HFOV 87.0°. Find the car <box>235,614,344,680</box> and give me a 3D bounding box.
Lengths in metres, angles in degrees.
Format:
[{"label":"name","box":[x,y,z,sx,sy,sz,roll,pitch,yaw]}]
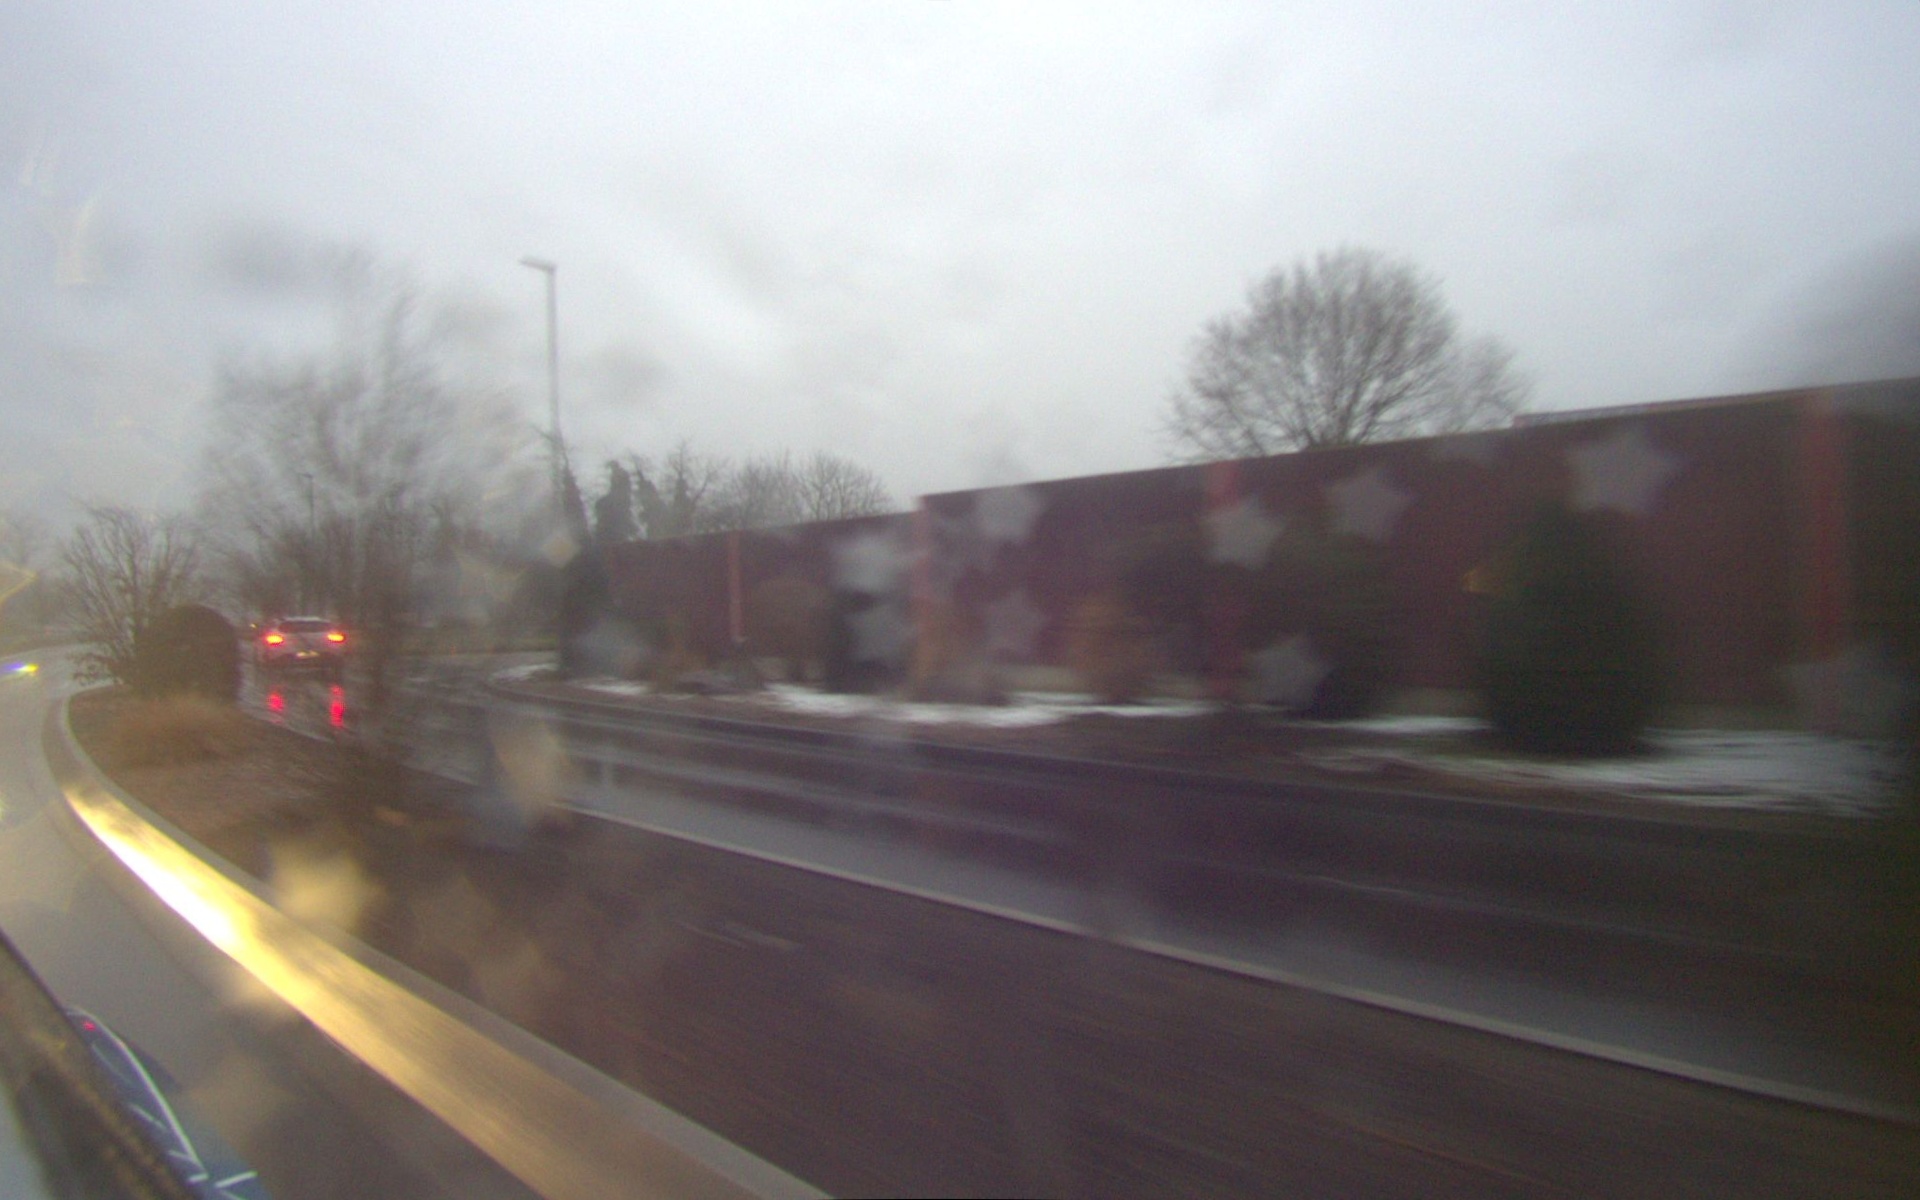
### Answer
[{"label":"car","box":[-18.133,1.200,27.309,3.886,1.590,1.675,0,0,44]}]
